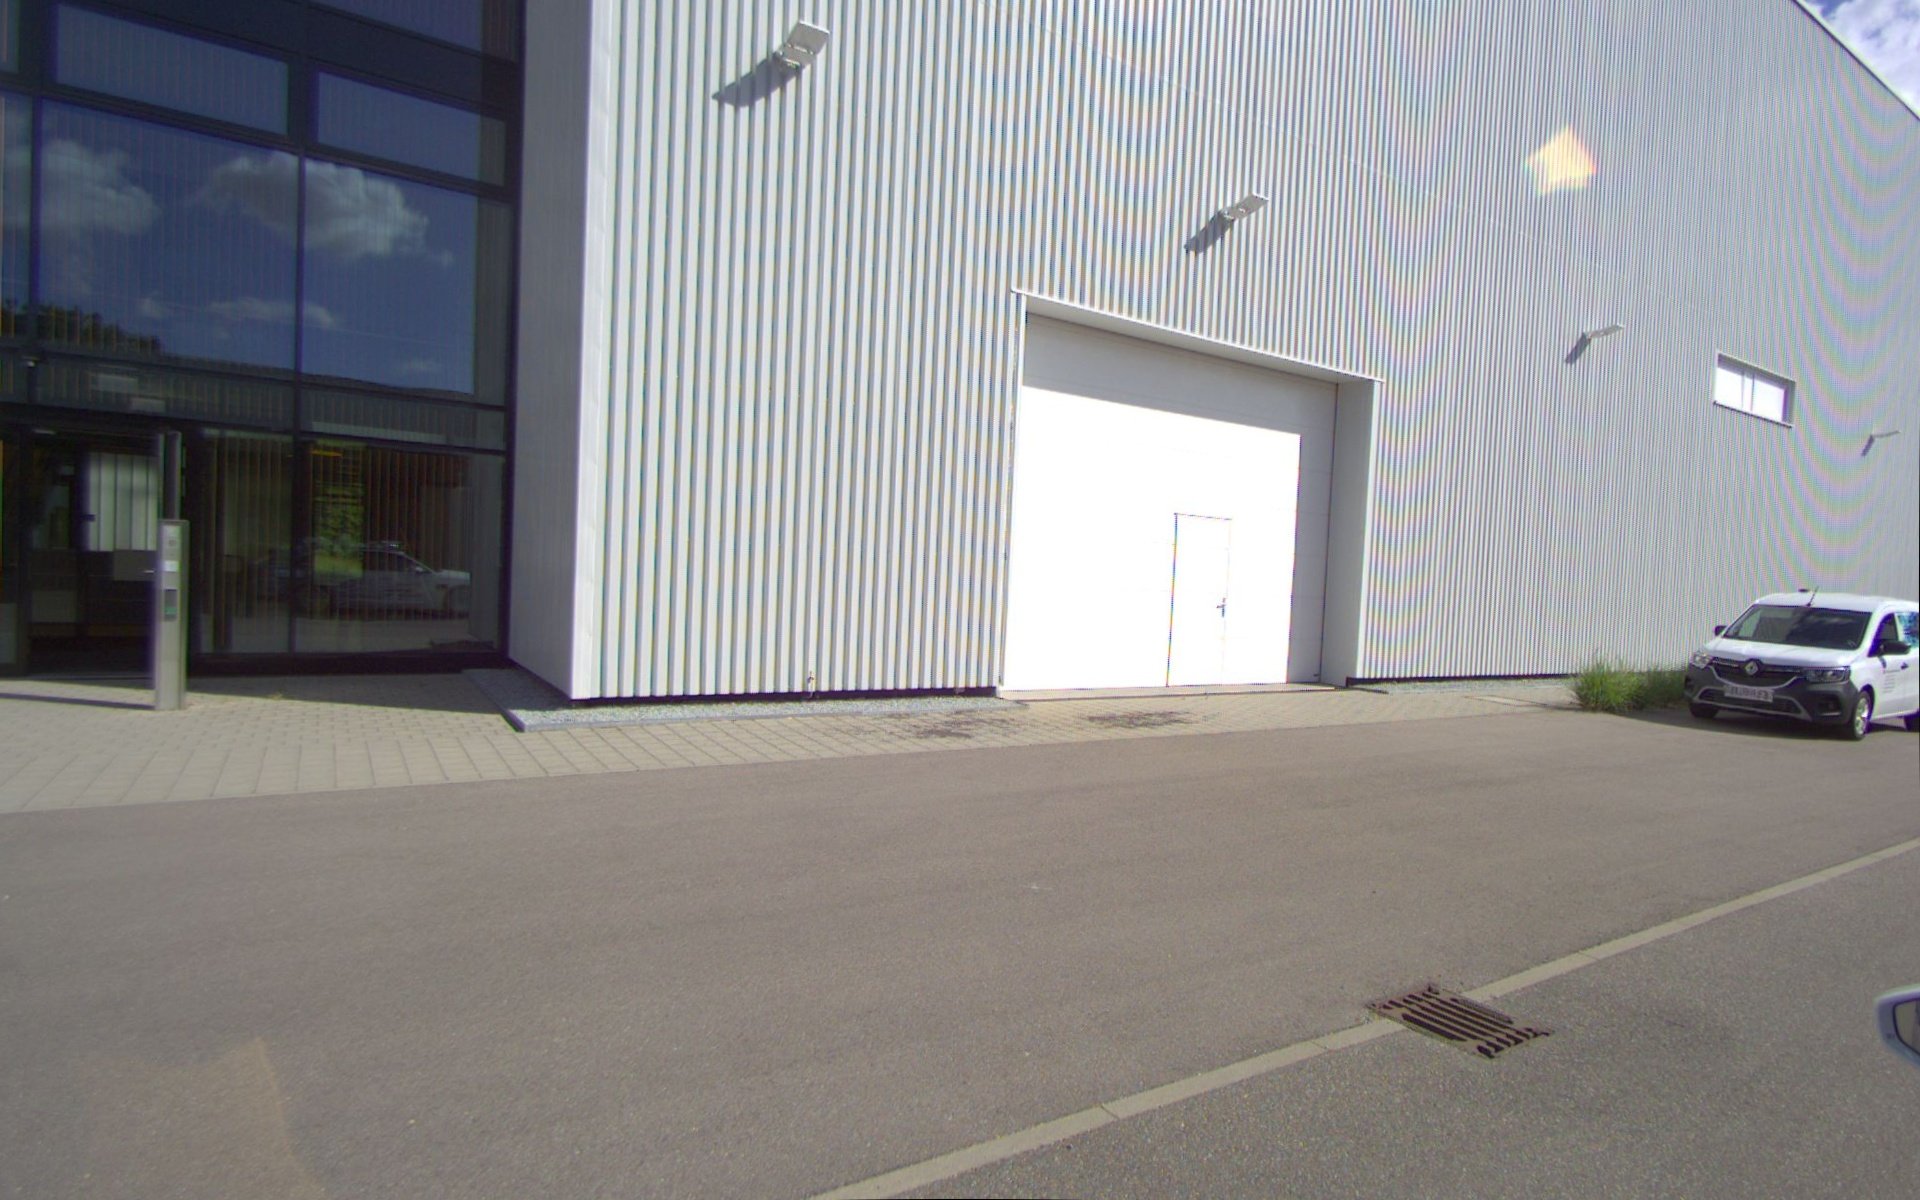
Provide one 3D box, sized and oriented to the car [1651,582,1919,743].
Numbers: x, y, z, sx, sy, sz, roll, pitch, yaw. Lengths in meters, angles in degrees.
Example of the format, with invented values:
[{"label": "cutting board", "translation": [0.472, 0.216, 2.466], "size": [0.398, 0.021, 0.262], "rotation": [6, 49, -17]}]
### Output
[{"label": "car", "translation": [11.728, 0.779, 13.879], "size": [4.549, 1.814, 1.917], "rotation": [2, 3, -33]}]
